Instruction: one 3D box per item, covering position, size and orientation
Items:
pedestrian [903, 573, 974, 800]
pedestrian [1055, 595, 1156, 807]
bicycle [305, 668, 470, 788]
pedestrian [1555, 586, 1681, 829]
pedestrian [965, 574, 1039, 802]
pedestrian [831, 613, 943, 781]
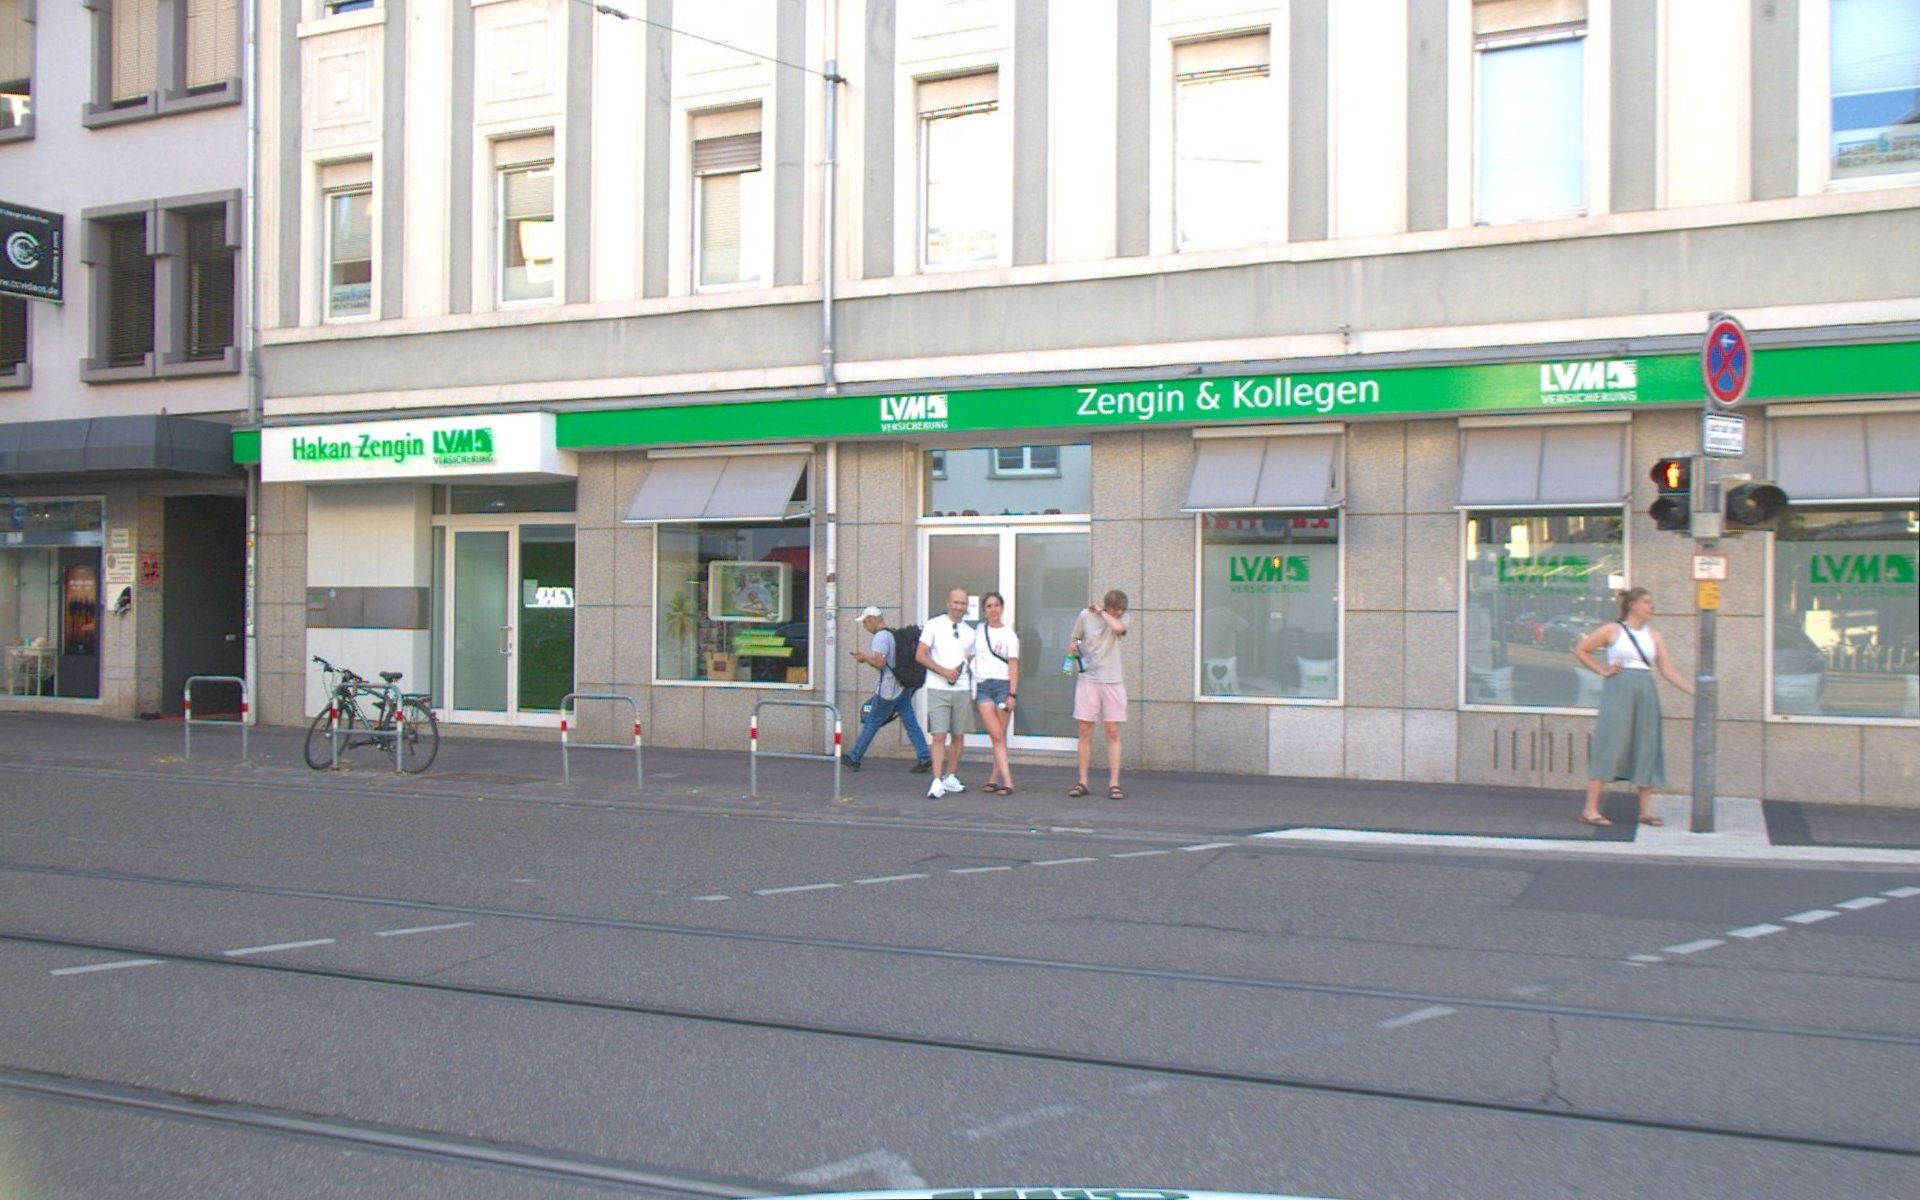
[{"bbox_3d":[-0.184,0.753,14.667,0.484,1.962,0.576,0,-1,14],"label":"pedestrian"},{"bbox_3d":[1.258,0.847,14.266,0.683,1.776,0.639,0,-1,27],"label":"pedestrian"},{"bbox_3d":[-5.649,1.243,16.311,1.609,1.109,0.479,0,0,22],"label":"bicycle"},{"bbox_3d":[5.082,0.807,12.793,0.662,1.810,0.641,1,-1,-28],"label":"pedestrian"},{"bbox_3d":[0.377,0.758,14.610,0.517,1.962,0.640,0,-1,13],"label":"pedestrian"},{"bbox_3d":[-0.709,0.921,16.084,0.850,1.575,0.698,0,-1,27],"label":"pedestrian"}]
